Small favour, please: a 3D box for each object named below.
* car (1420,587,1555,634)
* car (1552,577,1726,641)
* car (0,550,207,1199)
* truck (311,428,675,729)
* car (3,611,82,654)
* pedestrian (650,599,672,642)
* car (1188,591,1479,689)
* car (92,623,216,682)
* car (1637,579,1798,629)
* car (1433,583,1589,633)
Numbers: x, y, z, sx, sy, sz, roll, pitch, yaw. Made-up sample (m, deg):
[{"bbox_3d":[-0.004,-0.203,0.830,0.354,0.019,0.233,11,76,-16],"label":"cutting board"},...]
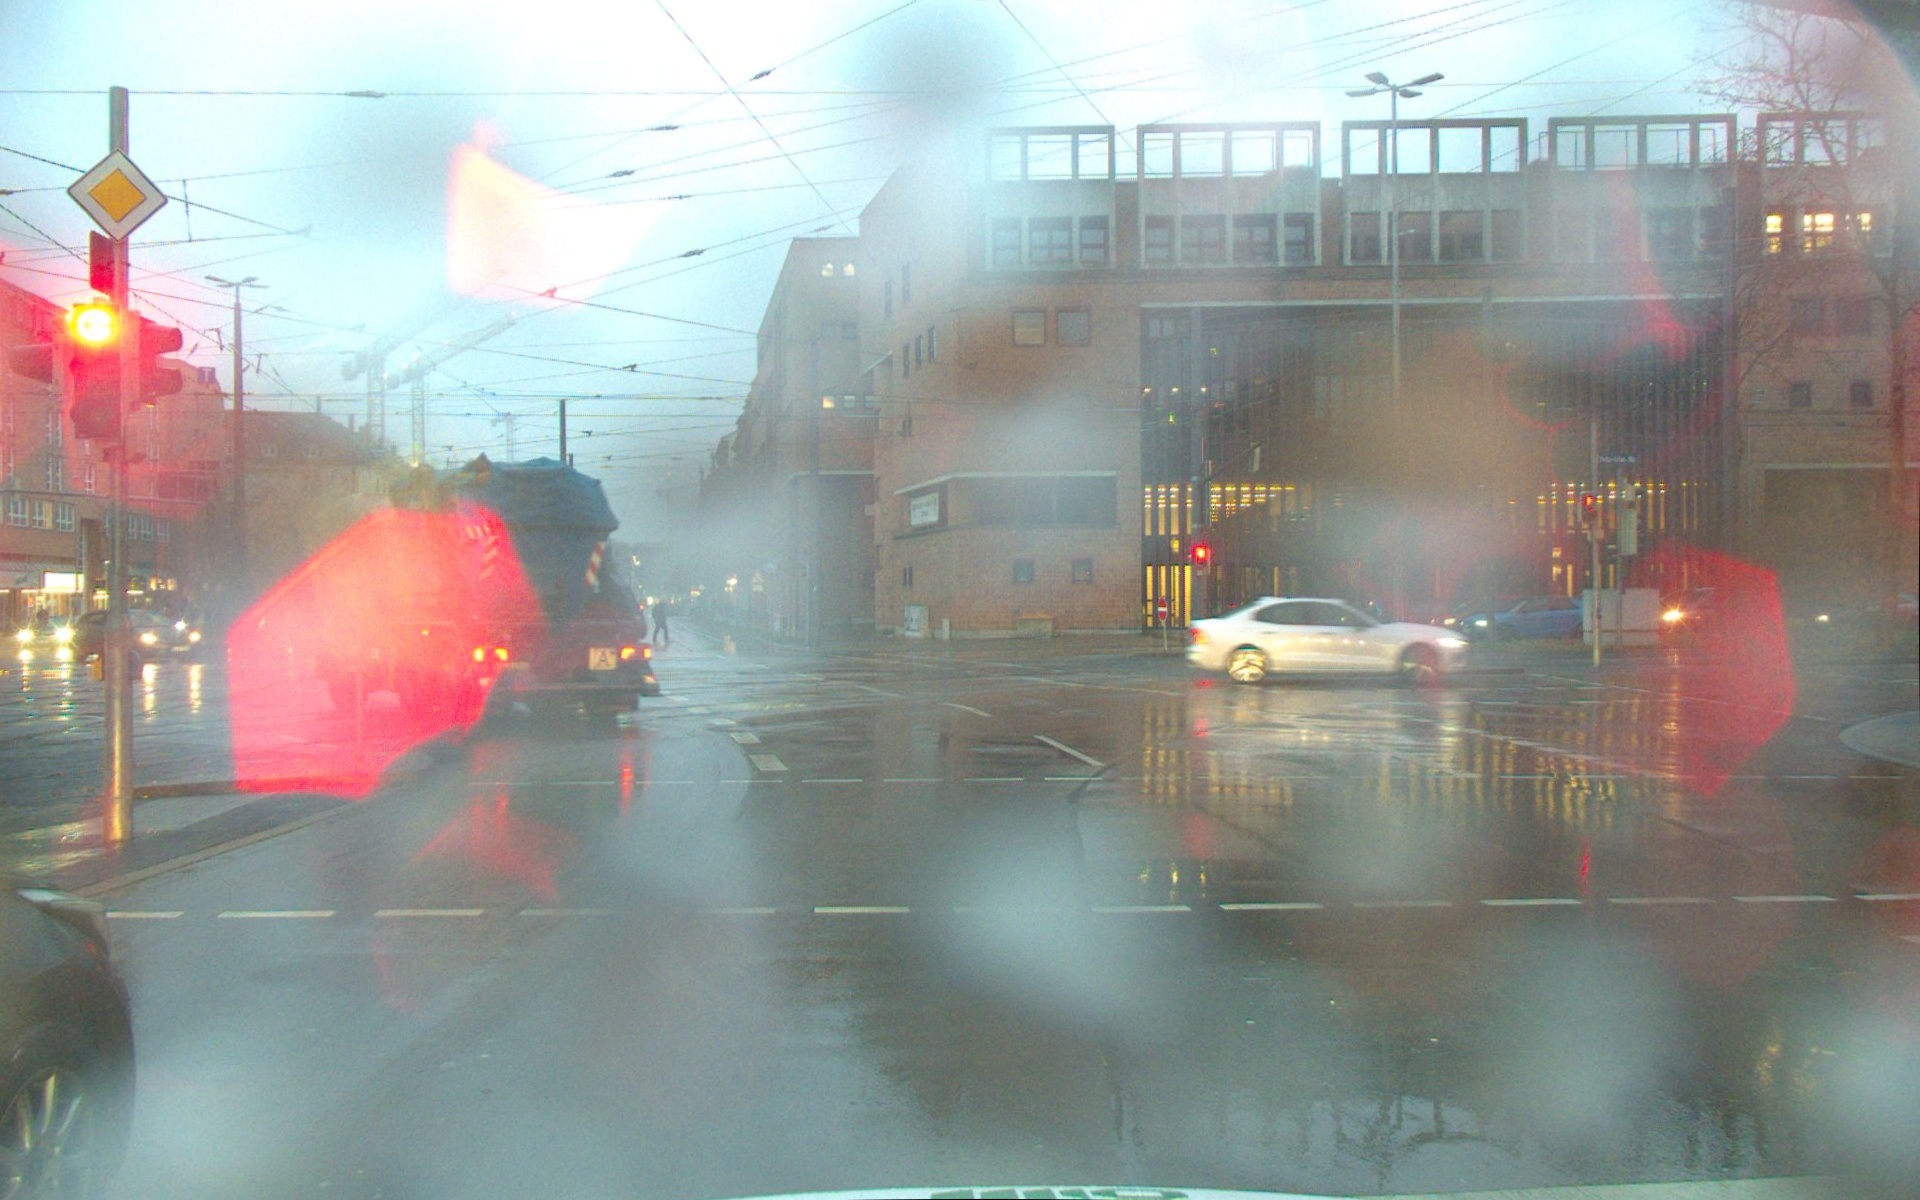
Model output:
[{"bbox_3d":[16.603,0.321,52.152,3.649,1.284,1.846,-1,4,-7],"label":"car"},{"bbox_3d":[18.228,0.210,44.511,3.910,1.530,1.846,-1,4,-7],"label":"car"},{"bbox_3d":[-2.574,0.681,1.889,1.596,1.550,3.942,2,1,0],"label":"car"},{"bbox_3d":[-7.082,-0.266,24.210,2.816,3.697,7.432,-1,0,-35],"label":"truck"},{"bbox_3d":[-38.692,1.347,69.860,1.960,1.700,3.984,-1,0,-15],"label":"car"},{"bbox_3d":[-11.929,0.809,66.010,0.828,1.717,0.648,-1,0,-11],"label":"pedestrian"},{"bbox_3d":[6.395,0.679,28.613,4.715,1.588,2.052,-1,0,12],"label":"car"},{"bbox_3d":[-23.143,1.462,47.417,4.009,1.579,1.986,-1,0,45],"label":"car"},{"bbox_3d":[22.347,0.096,48.860,3.910,1.310,1.846,-1,4,-7],"label":"car"},{"bbox_3d":[15.976,0.213,48.056,3.910,1.284,1.846,-1,4,-7],"label":"car"}]
